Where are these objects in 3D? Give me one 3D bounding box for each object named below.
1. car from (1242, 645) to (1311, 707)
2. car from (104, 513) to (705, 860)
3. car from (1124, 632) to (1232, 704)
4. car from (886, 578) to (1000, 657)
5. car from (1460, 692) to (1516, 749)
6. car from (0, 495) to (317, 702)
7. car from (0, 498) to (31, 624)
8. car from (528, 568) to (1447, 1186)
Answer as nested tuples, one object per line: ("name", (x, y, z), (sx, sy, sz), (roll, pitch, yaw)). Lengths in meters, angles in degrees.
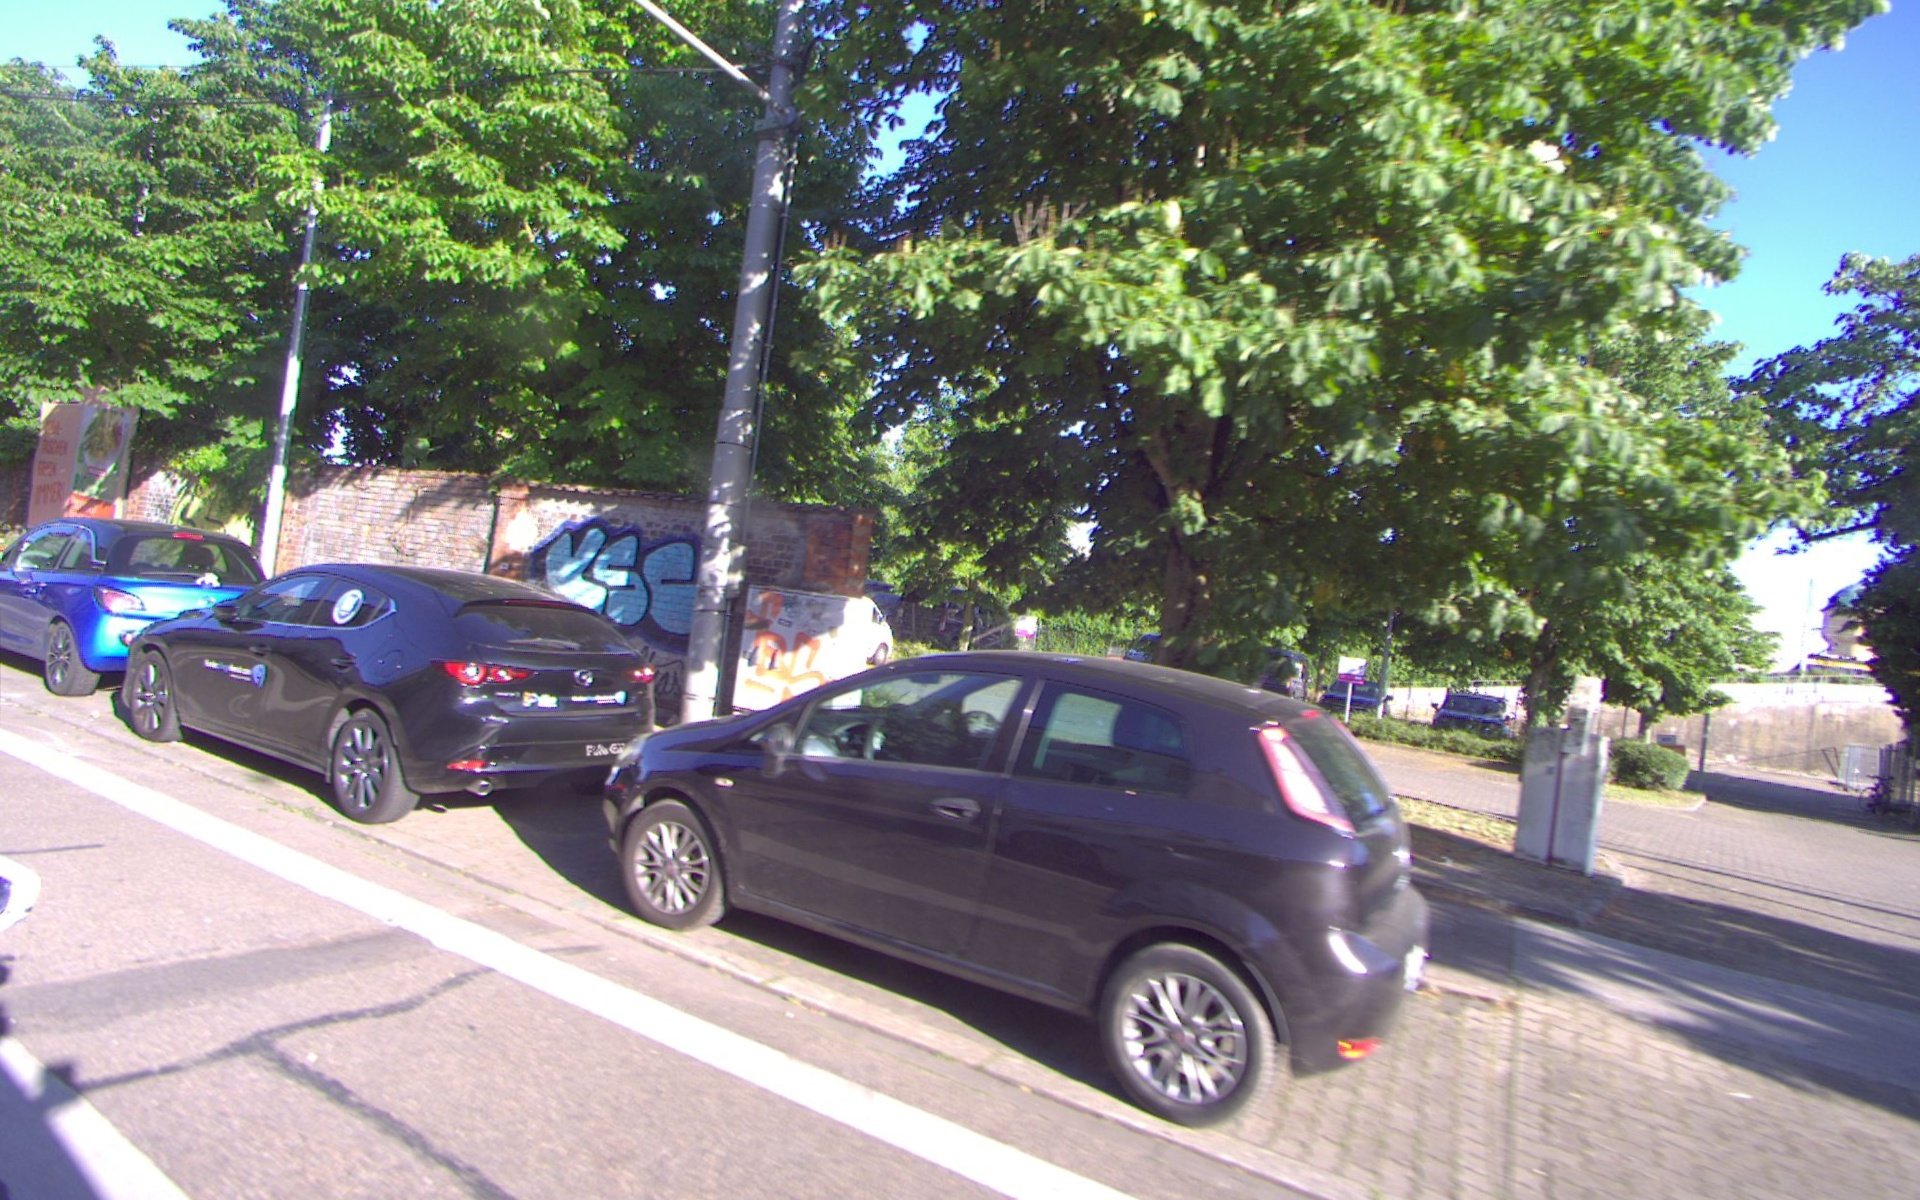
("car", (14.022, 3.380, 44.407), (2.034, 2.328, 4.199), (7, -2, 27))
("car", (-3.975, 0.407, 6.959), (4.284, 1.548, 1.691), (7, 0, 33))
("car", (7.248, 2.292, 33.087), (1.929, 1.835, 4.696), (7, -3, 31))
("car", (-0.523, 0.675, 35.858), (2.106, 2.267, 4.199), (7, -2, 27))
("car", (21.393, 4.851, 40.878), (1.713, 1.944, 4.139), (7, -2, 27))
("car", (-8.132, -0.090, 9.661), (3.934, 1.548, 1.691), (7, 0, 33))
("car", (-13.939, -0.733, 12.843), (3.930, 1.548, 1.693), (7, 0, 27))
("car", (-0.027, 0.864, 4.785), (3.934, 1.548, 1.691), (7, 0, 33))
